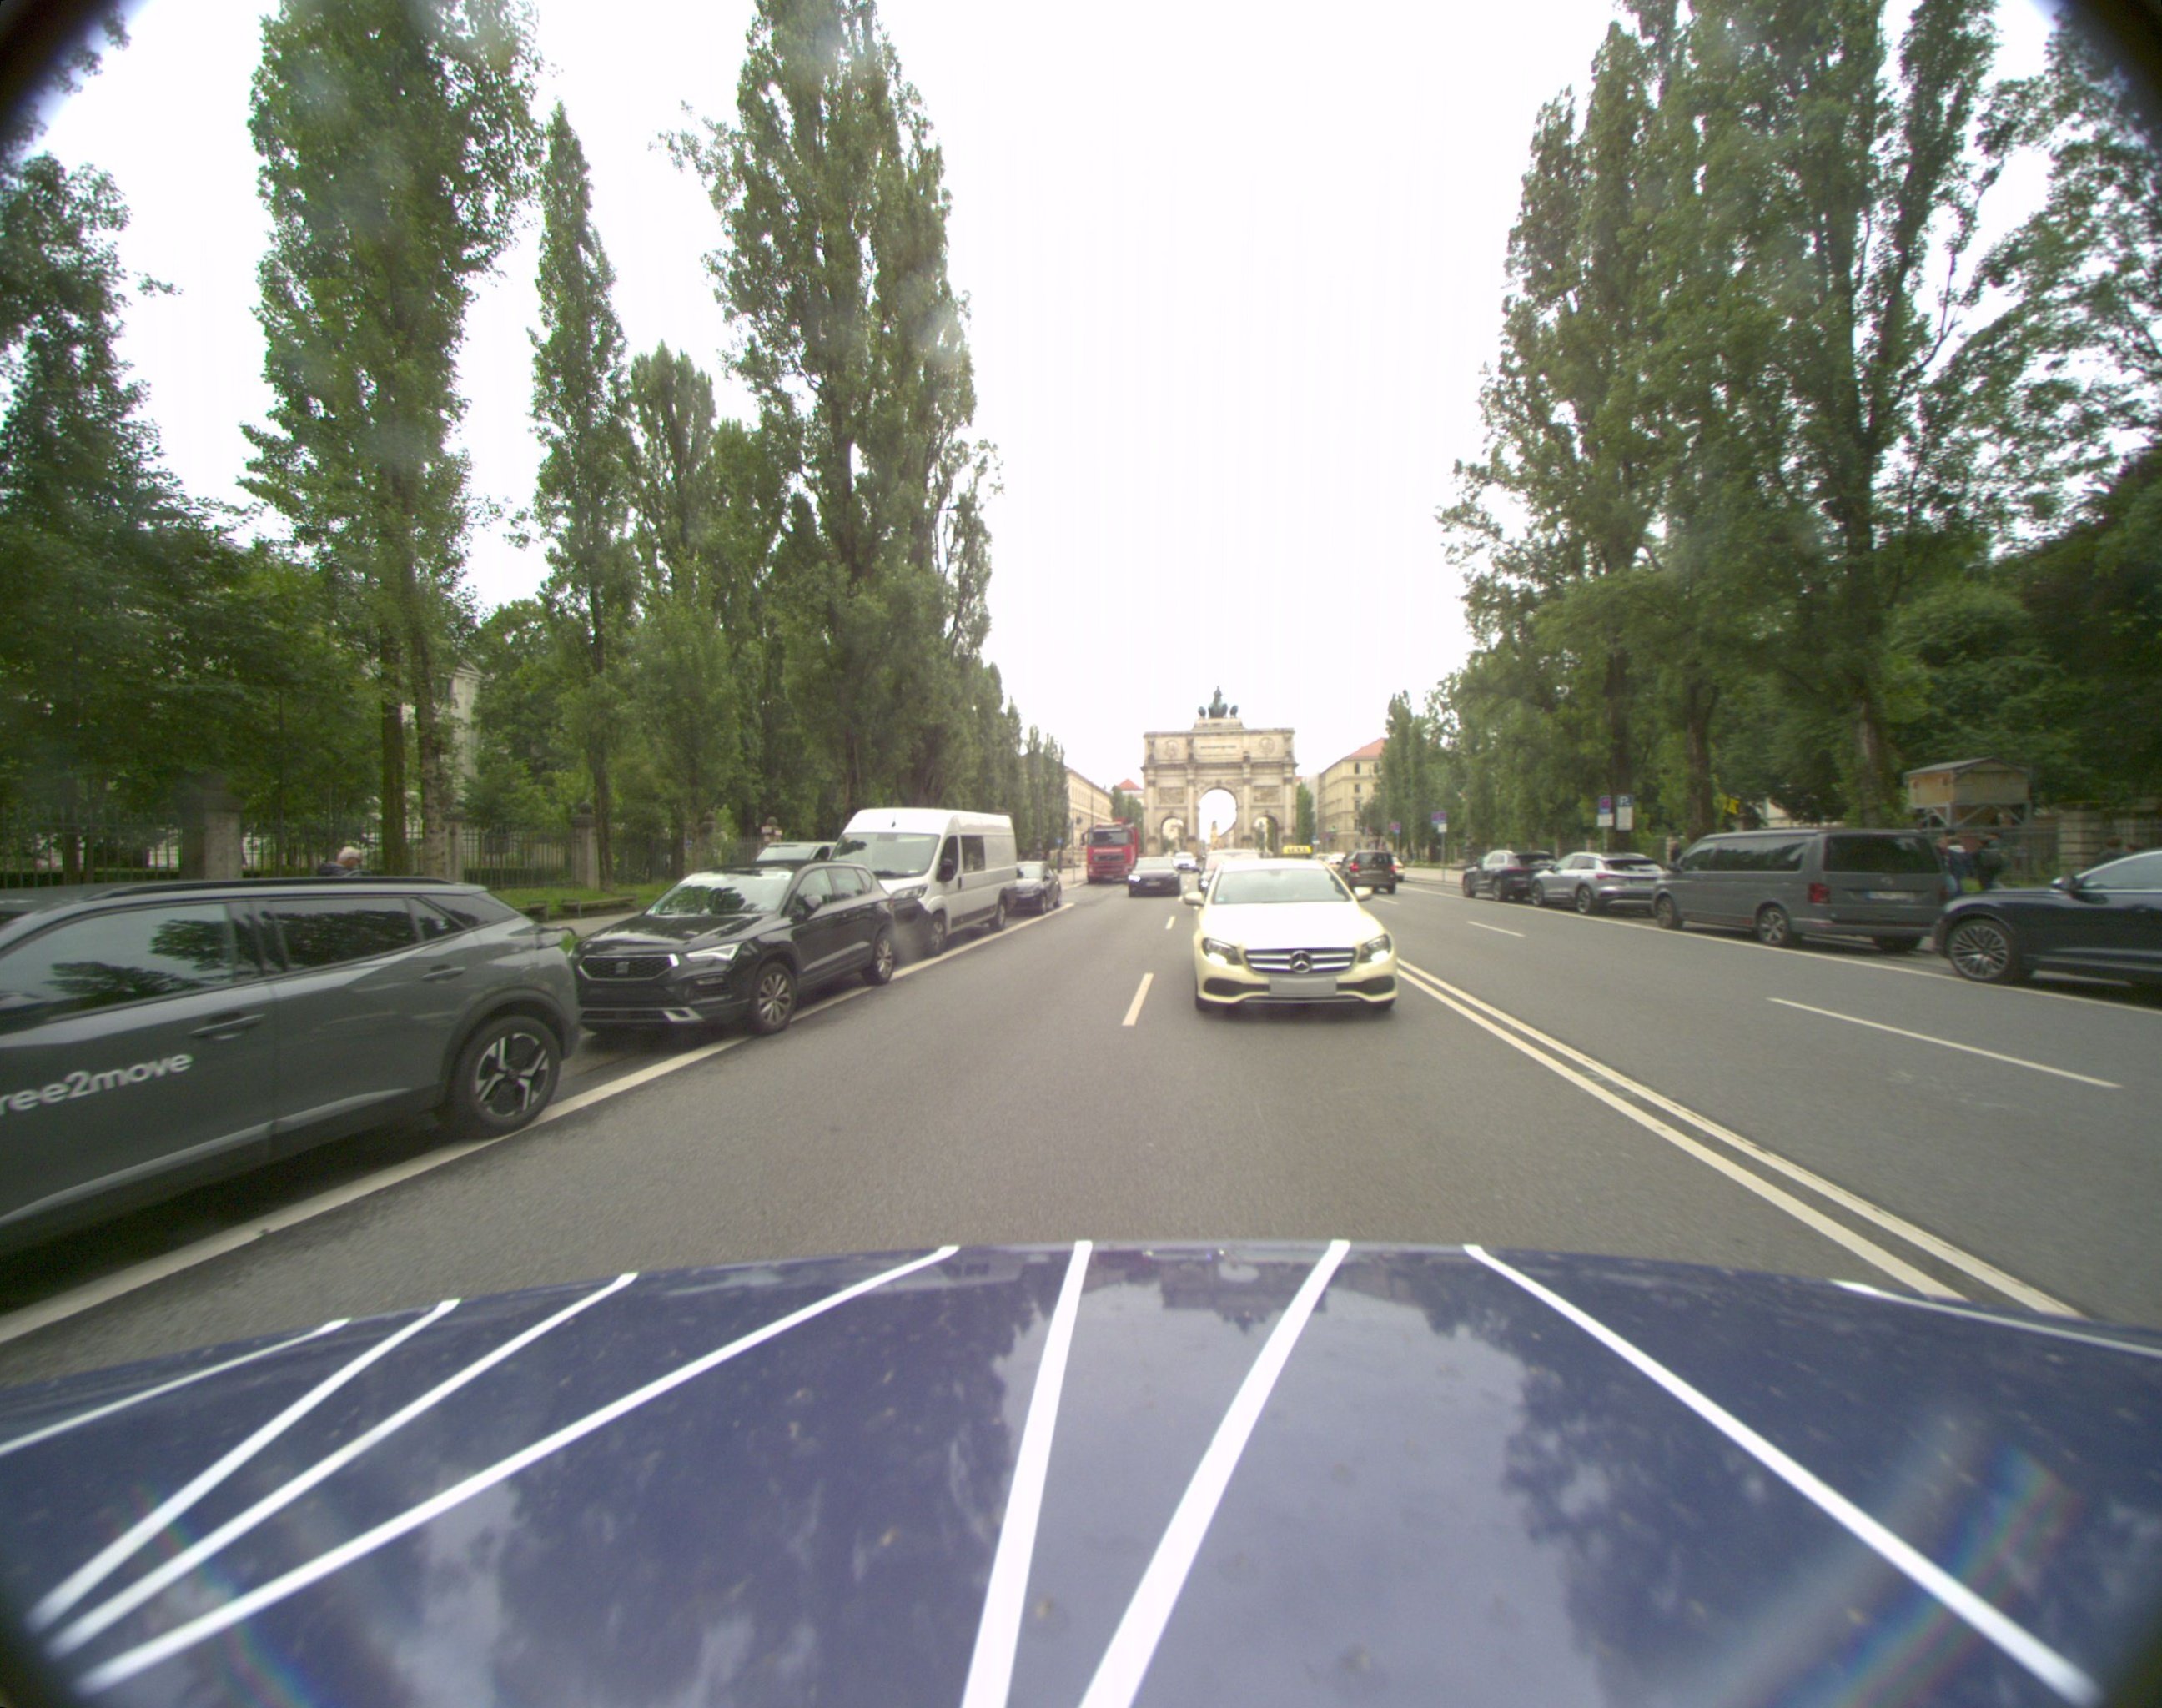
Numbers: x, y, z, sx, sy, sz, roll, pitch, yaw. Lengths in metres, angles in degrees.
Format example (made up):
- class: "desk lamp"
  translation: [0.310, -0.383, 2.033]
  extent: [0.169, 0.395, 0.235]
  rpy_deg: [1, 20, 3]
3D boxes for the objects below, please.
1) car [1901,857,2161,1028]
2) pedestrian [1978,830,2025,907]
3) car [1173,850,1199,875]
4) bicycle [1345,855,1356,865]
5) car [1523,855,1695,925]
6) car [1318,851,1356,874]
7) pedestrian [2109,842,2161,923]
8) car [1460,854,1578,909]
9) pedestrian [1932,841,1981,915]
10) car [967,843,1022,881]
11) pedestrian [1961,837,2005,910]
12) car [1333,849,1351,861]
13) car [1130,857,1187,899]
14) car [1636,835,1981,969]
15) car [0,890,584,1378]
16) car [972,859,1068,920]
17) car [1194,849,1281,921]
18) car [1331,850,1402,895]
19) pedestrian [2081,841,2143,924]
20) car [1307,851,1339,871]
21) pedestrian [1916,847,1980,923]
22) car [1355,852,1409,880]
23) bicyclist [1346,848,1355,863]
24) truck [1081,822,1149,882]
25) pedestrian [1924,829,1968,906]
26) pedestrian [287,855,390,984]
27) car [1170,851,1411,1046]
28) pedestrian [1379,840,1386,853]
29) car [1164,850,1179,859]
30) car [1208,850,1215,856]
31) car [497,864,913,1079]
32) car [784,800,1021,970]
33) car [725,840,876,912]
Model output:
- class: "car"
  translation: [11.288, 0.892, 7.314]
  extent: [1.818, 1.599, 5.056]
  rpy_deg: [2, 1, 9]
- class: "pedestrian"
  translation: [23.677, 0.380, 19.557]
  extent: [0.550, 1.948, 0.532]
  rpy_deg: [-1, 1, 8]
- class: "car"
  translation: [8.460, 0.653, 60.953]
  extent: [1.888, 1.846, 4.316]
  rpy_deg: [-1, 0, 10]
- class: "bicycle"
  translation: [26.810, 0.562, 75.577]
  extent: [0.708, 0.933, 1.736]
  rpy_deg: [-1, 0, 10]
- class: "car"
  translation: [13.815, 0.849, 20.265]
  extent: [1.894, 1.575, 4.657]
  rpy_deg: [1, 0, 9]
- class: "car"
  translation: [19.507, 0.586, 58.169]
  extent: [1.941, 1.615, 4.967]
  rpy_deg: [0, 1, 9]
- class: "pedestrian"
  translation: [22.054, 0.590, 15.827]
  extent: [0.550, 1.659, 0.532]
  rpy_deg: [-1, 1, 8]
- class: "car"
  translation: [14.191, 0.826, 24.957]
  extent: [1.785, 1.586, 4.616]
  rpy_deg: [1, 0, 9]
- class: "pedestrian"
  translation: [20.847, 0.555, 18.105]
  extent: [0.550, 1.737, 0.532]
  rpy_deg: [-1, 1, 8]
- class: "car"
  translation: [-4.745, 0.405, 42.453]
  extent: [1.884, 1.933, 4.888]
  rpy_deg: [-2, 0, 8]
- class: "pedestrian"
  translation: [22.911, 0.493, 19.305]
  extent: [0.434, 1.824, 0.612]
  rpy_deg: [-1, 1, 8]
- class: "car"
  translation: [41.457, 0.116, 120.691]
  extent: [2.002, 1.844, 4.994]
  rpy_deg: [1, 1, 11]
- class: "car"
  translation: [2.977, 0.845, 28.573]
  extent: [1.921, 1.320, 4.414]
  rpy_deg: [-2, 0, 8]
- class: "car"
  translation: [12.603, 0.696, 13.778]
  extent: [1.997, 1.945, 4.940]
  rpy_deg: [1, 0, 9]
- class: "car"
  translation: [-4.372, 1.016, 3.002]
  extent: [1.654, 1.494, 4.116]
  rpy_deg: [-2, 0, 9]
- class: "car"
  translation: [-1.585, 0.920, 21.269]
  extent: [1.757, 1.441, 4.003]
  rpy_deg: [-3, 0, 9]
- class: "car"
  translation: [4.035, 0.734, 20.134]
  extent: [1.952, 1.615, 4.414]
  rpy_deg: [-2, 0, 9]
- class: "car"
  translation: [11.182, 0.666, 30.042]
  extent: [1.788, 1.646, 4.116]
  rpy_deg: [1, 1, 8]
- class: "pedestrian"
  translation: [21.466, 0.585, 15.834]
  extent: [0.550, 1.691, 0.532]
  rpy_deg: [-1, 1, 8]
- class: "car"
  translation: [20.557, 0.562, 64.808]
  extent: [1.821, 1.550, 4.861]
  rpy_deg: [2, 1, 9]
- class: "pedestrian"
  translation: [19.845, 0.695, 17.405]
  extent: [0.583, 1.710, 0.787]
  rpy_deg: [-1, 1, 8]
- class: "car"
  translation: [17.220, 0.662, 43.665]
  extent: [1.934, 1.488, 4.794]
  rpy_deg: [0, 0, 10]
- class: "bicyclist"
  translation: [26.813, 0.146, 75.612]
  extent: [0.695, 1.489, 0.862]
  rpy_deg: [0, 1, 10]
- class: "truck"
  translation: [2.208, -0.100, 44.584]
  extent: [2.718, 3.092, 10.433]
  rpy_deg: [0, 0, 9]
- class: "pedestrian"
  translation: [22.363, 0.345, 19.649]
  extent: [0.550, 1.948, 0.532]
  rpy_deg: [-1, 1, 8]
- class: "pedestrian"
  translation: [-9.833, 0.850, 10.076]
  extent: [0.716, 1.650, 0.633]
  rpy_deg: [-1, 1, 8]
- class: "car"
  translation: [2.167, 0.807, 8.718]
  extent: [1.918, 1.566, 4.692]
  rpy_deg: [-2, 0, 10]
- class: "pedestrian"
  translation: [46.934, -1.159, 118.296]
  extent: [0.795, 2.002, 0.754]
  rpy_deg: [-1, 1, -26]
- class: "car"
  translation: [18.868, 0.133, 158.551]
  extent: [1.784, 1.739, 4.328]
  rpy_deg: [0, 0, 25]
- class: "car"
  translation: [42.593, -0.452, 247.859]
  extent: [1.997, 2.002, 4.397]
  rpy_deg: [0, 0, 9]
- class: "car"
  translation: [-3.460, 0.957, 8.079]
  extent: [1.824, 1.581, 4.225]
  rpy_deg: [-1, 0, 9]
- class: "car"
  translation: [-2.902, 0.462, 14.327]
  extent: [2.078, 2.464, 6.288]
  rpy_deg: [-2, 0, 9]
- class: "car"
  translation: [-8.279, 0.585, 23.068]
  extent: [1.997, 1.935, 5.086]
  rpy_deg: [-1, 0, 10]
